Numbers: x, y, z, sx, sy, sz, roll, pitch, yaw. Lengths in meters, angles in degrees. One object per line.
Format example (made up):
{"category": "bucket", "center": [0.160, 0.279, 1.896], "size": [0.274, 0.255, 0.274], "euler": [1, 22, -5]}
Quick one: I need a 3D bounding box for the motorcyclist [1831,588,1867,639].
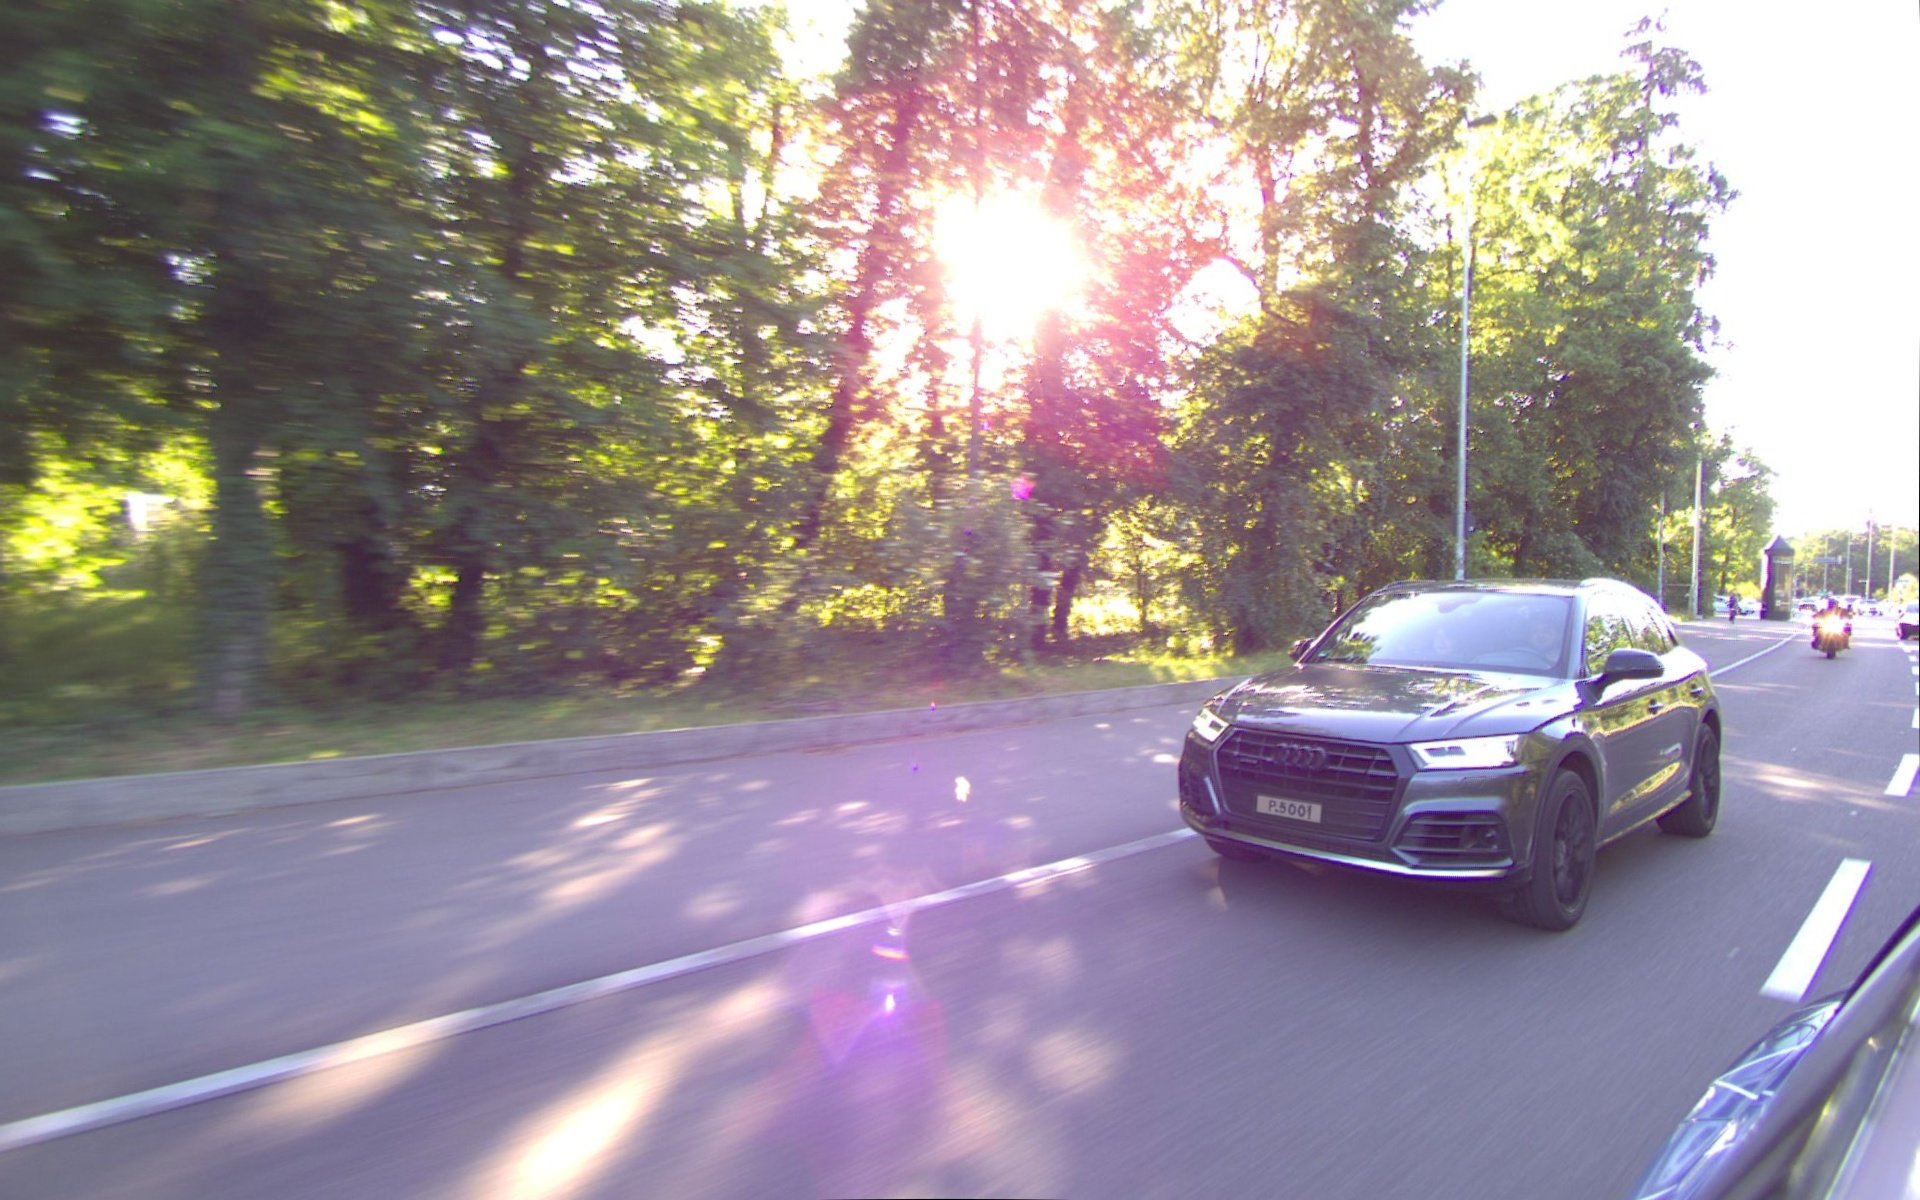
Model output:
{"category": "motorcyclist", "center": [23.055, 0.337, 26.251], "size": [0.668, 1.280, 0.814], "euler": [0, 0, 39]}

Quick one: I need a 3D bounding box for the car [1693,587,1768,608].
{"category": "car", "center": [60.068, -0.238, 78.922], "size": [1.789, 1.395, 4.381], "euler": [-1, 3, -41]}

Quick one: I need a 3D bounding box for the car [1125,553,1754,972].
{"category": "car", "center": [3.156, 0.614, 6.146], "size": [4.466, 1.625, 1.895], "euler": [0, 0, -42]}

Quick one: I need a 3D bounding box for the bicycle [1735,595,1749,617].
{"category": "bicycle", "center": [41.916, 0.296, 54.211], "size": [0.553, 1.151, 1.838], "euler": [-1, 0, 39]}

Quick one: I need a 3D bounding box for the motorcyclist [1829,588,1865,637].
{"category": "motorcyclist", "center": [23.606, 0.327, 26.947], "size": [0.668, 1.280, 0.814], "euler": [0, 0, 39]}

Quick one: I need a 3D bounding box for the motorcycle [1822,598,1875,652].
{"category": "motorcycle", "center": [23.136, 0.623, 26.400], "size": [0.912, 1.266, 2.921], "euler": [1, 1, 39]}

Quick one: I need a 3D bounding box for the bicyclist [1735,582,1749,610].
{"category": "bicyclist", "center": [42.000, -0.211, 54.338], "size": [0.519, 1.488, 0.849], "euler": [-3, -1, 39]}

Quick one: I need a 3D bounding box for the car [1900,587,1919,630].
{"category": "car", "center": [37.529, 0.315, 38.705], "size": [1.858, 1.566, 4.731], "euler": [1, 1, 38]}
